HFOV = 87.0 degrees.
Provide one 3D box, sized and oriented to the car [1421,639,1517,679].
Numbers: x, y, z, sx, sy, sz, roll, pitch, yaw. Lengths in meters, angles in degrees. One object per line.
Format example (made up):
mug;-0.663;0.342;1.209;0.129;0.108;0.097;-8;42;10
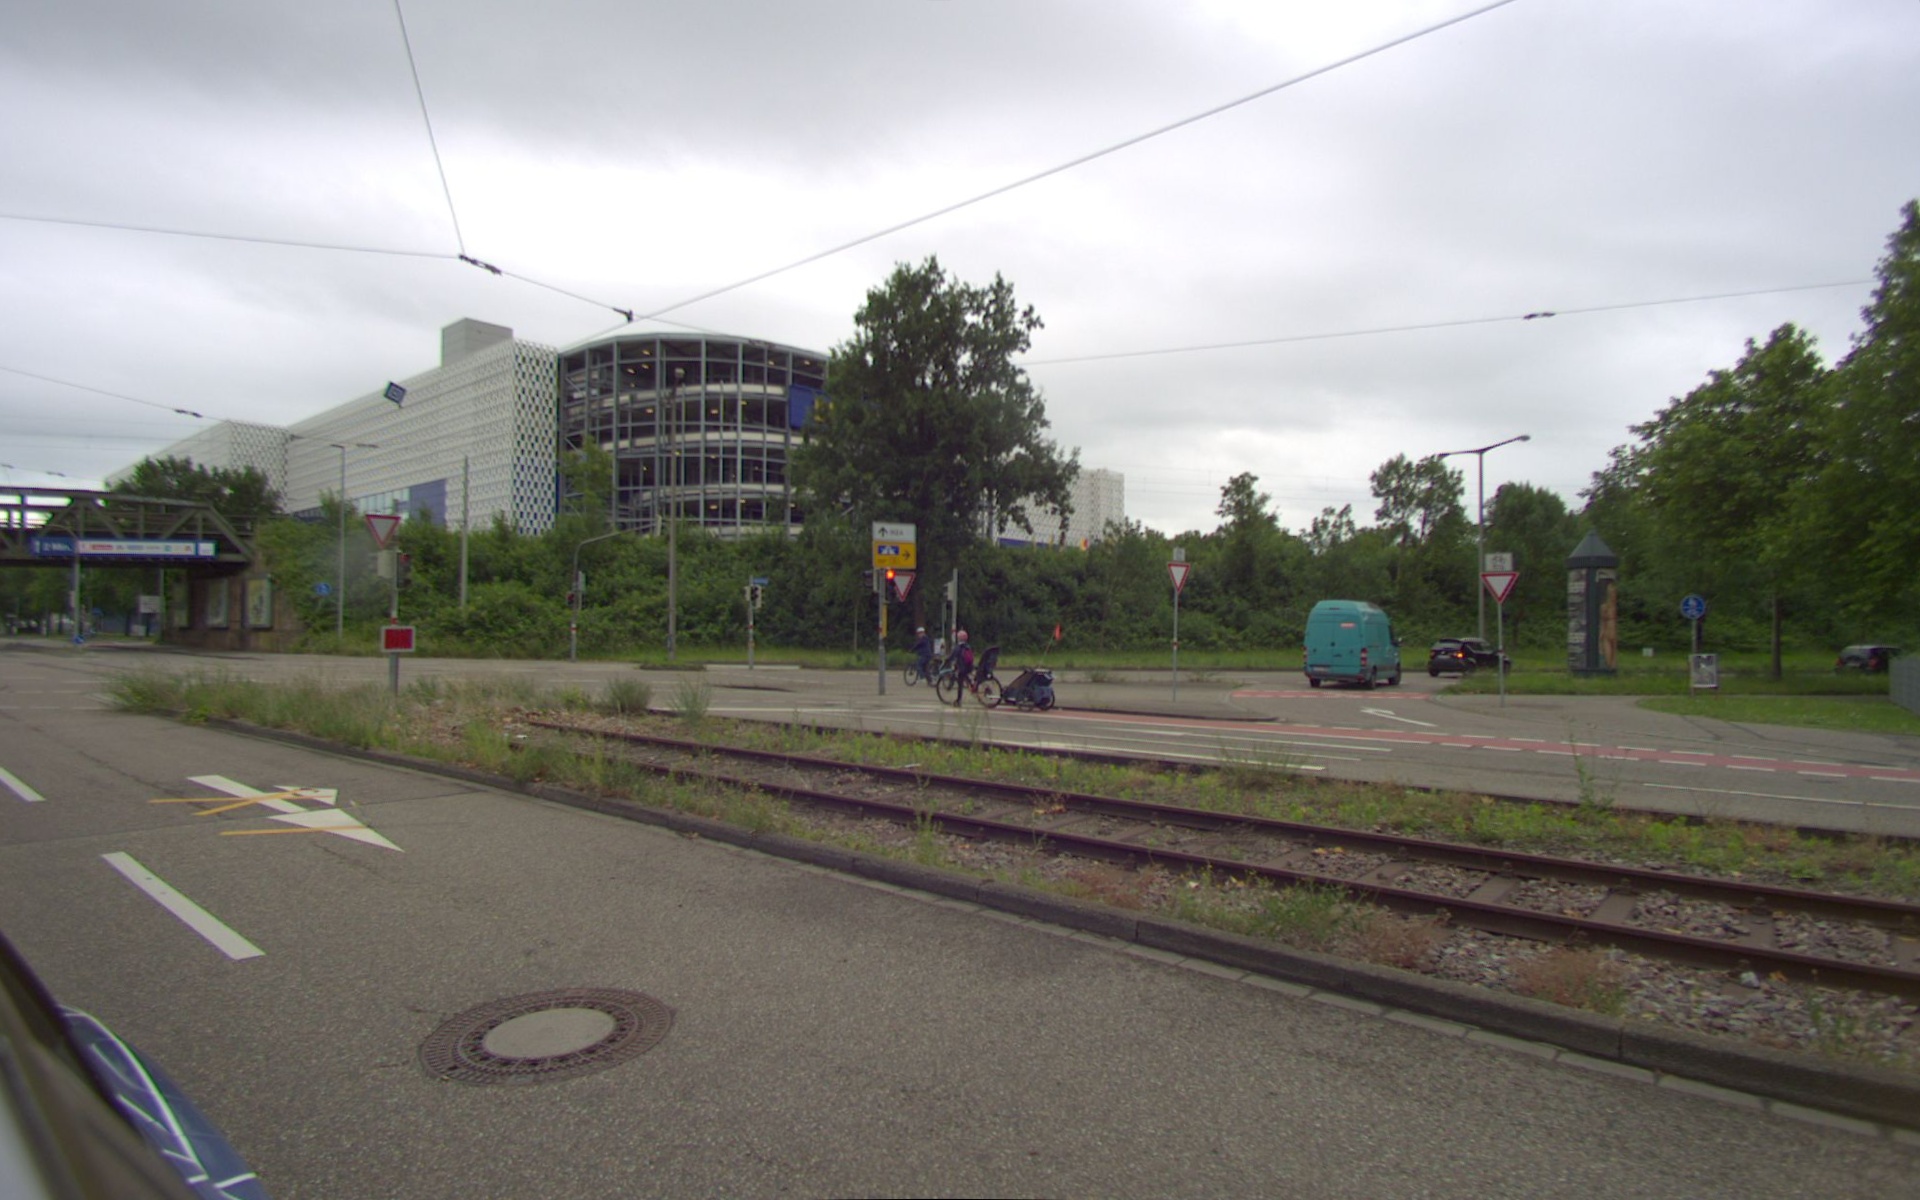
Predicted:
car;20.440;2.348;40.599;3.606;1.539;1.779;2;-2;-31

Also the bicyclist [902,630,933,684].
bicyclist;-1.253;1.675;29.851;0.638;1.530;0.627;0;-1;-43

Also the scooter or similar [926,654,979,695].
scooter or similar;-0.215;2.064;28.214;0.637;1.070;1.451;0;-1;-43

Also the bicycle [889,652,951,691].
bicycle;-1.195;2.081;29.785;0.637;1.070;2.003;0;-1;-43

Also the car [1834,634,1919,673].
car;40.600;2.306;44.298;3.607;1.539;1.779;-1;-1;-16

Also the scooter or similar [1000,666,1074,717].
scooter or similar;1.534;1.808;20.170;1.198;0.914;0.834;-2;-1;45

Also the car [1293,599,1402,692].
car;13.078;1.489;33.911;2.329;2.847;5.883;-1;-2;32

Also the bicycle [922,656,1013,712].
bicycle;0.130;1.740;21.224;2.025;1.070;0.638;-2;-1;45

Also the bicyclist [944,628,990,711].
bicyclist;0.142;1.436;21.198;0.686;1.696;0.638;-2;-2;45
